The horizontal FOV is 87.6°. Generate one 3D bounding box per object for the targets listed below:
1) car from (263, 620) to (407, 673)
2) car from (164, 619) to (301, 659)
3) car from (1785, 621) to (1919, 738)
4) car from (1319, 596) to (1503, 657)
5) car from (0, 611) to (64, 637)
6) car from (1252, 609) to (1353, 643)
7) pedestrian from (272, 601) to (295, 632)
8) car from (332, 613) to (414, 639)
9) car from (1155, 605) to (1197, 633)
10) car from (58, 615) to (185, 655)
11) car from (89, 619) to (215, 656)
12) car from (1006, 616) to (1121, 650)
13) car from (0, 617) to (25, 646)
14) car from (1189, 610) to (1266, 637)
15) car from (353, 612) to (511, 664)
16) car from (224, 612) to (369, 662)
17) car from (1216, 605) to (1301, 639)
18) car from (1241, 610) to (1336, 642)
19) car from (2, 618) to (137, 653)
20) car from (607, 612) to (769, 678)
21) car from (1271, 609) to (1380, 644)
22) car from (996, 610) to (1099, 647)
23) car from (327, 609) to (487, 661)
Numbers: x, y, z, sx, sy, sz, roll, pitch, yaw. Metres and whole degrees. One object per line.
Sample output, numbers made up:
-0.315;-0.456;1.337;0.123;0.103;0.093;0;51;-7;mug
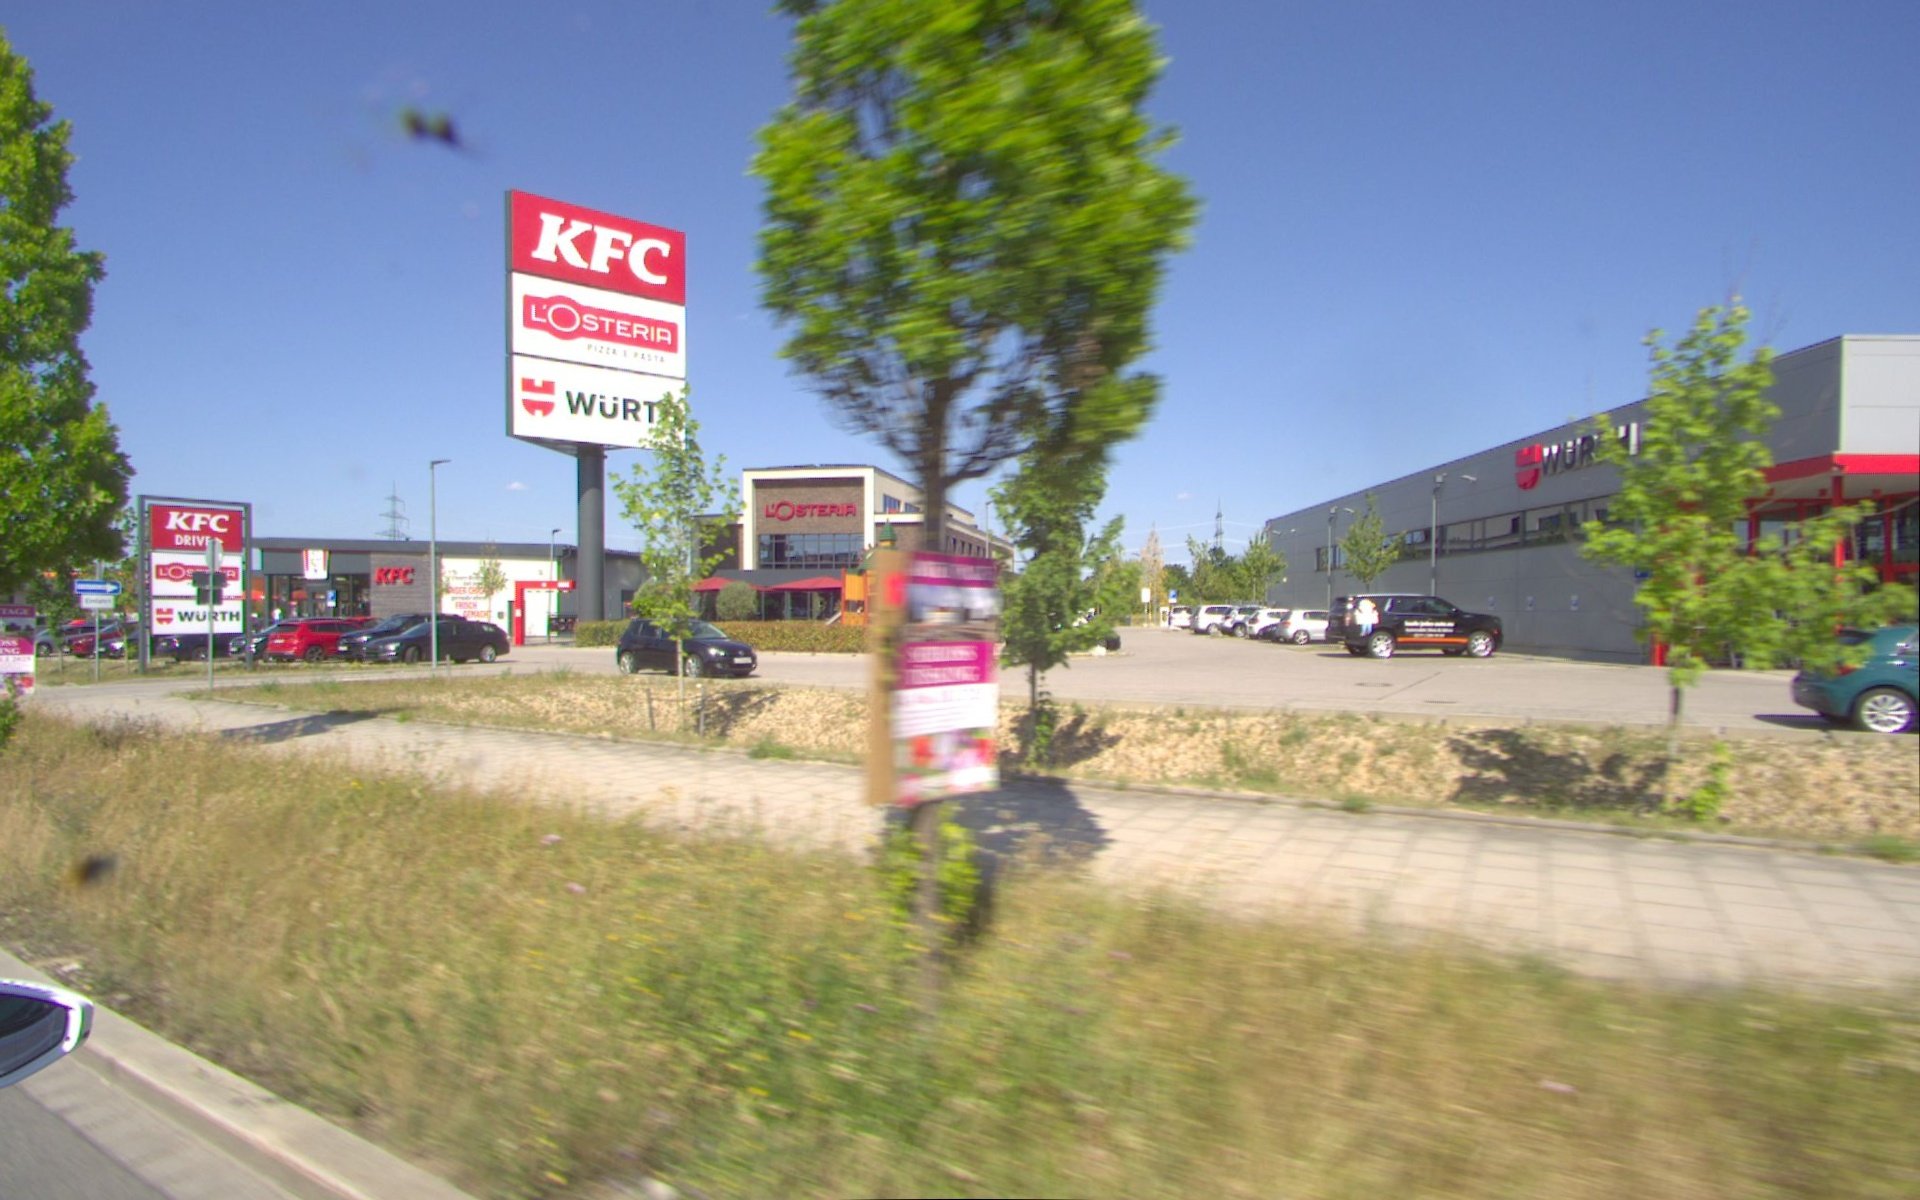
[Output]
-23.581;1.694;37.953;1.762;1.758;4.406;0;0;24;car
-30.032;1.588;41.424;1.772;1.468;4.380;1;1;44;car
13.103;1.001;12.599;3.937;1.426;1.512;0;0;27;car
14.034;0.808;31.409;4.828;1.839;2.049;0;0;3;car
-62.344;1.562;66.409;1.757;1.656;4.167;0;0;11;car
15.525;1.175;45.494;4.029;1.481;1.702;0;0;2;car
-45.157;1.108;66.804;0.875;2.040;0.915;0;0;15;pedestrian
-36.289;1.566;62.033;1.833;1.450;4.566;0;0;11;car
14.741;1.295;68.552;2.009;1.839;4.924;0;0;3;car
-38.908;1.563;46.578;1.839;1.687;4.152;0;0;26;car
-36.745;1.674;45.678;1.760;1.468;4.158;0;0;20;car
3.764;1.208;36.822;4.055;1.228;1.654;0;-1;1;car
-52.041;1.699;52.390;1.835;1.510;4.210;0;0;19;car
15.374;1.349;57.716;4.029;1.481;1.702;0;0;2;car
-17.735;1.226;33.873;1.964;1.587;4.402;0;0;28;car
-25.888;1.403;39.229;1.764;1.758;4.400;0;0;30;car
15.710;1.162;52.833;4.029;1.780;1.702;0;0;2;car
15.803;1.238;48.244;4.029;1.481;1.702;0;0;2;car
-43.040;1.655;48.539;1.837;1.510;4.557;0;0;22;car
-7.025;1.108;25.720;4.111;1.560;1.776;-1;-1;34;car
15.541;1.115;42.752;4.029;1.481;1.702;0;0;2;car
3.598;1.185;41.705;4.150;1.491;1.702;0;0;1;car
-20.417;1.232;37.205;1.909;1.758;4.978;0;0;27;car
